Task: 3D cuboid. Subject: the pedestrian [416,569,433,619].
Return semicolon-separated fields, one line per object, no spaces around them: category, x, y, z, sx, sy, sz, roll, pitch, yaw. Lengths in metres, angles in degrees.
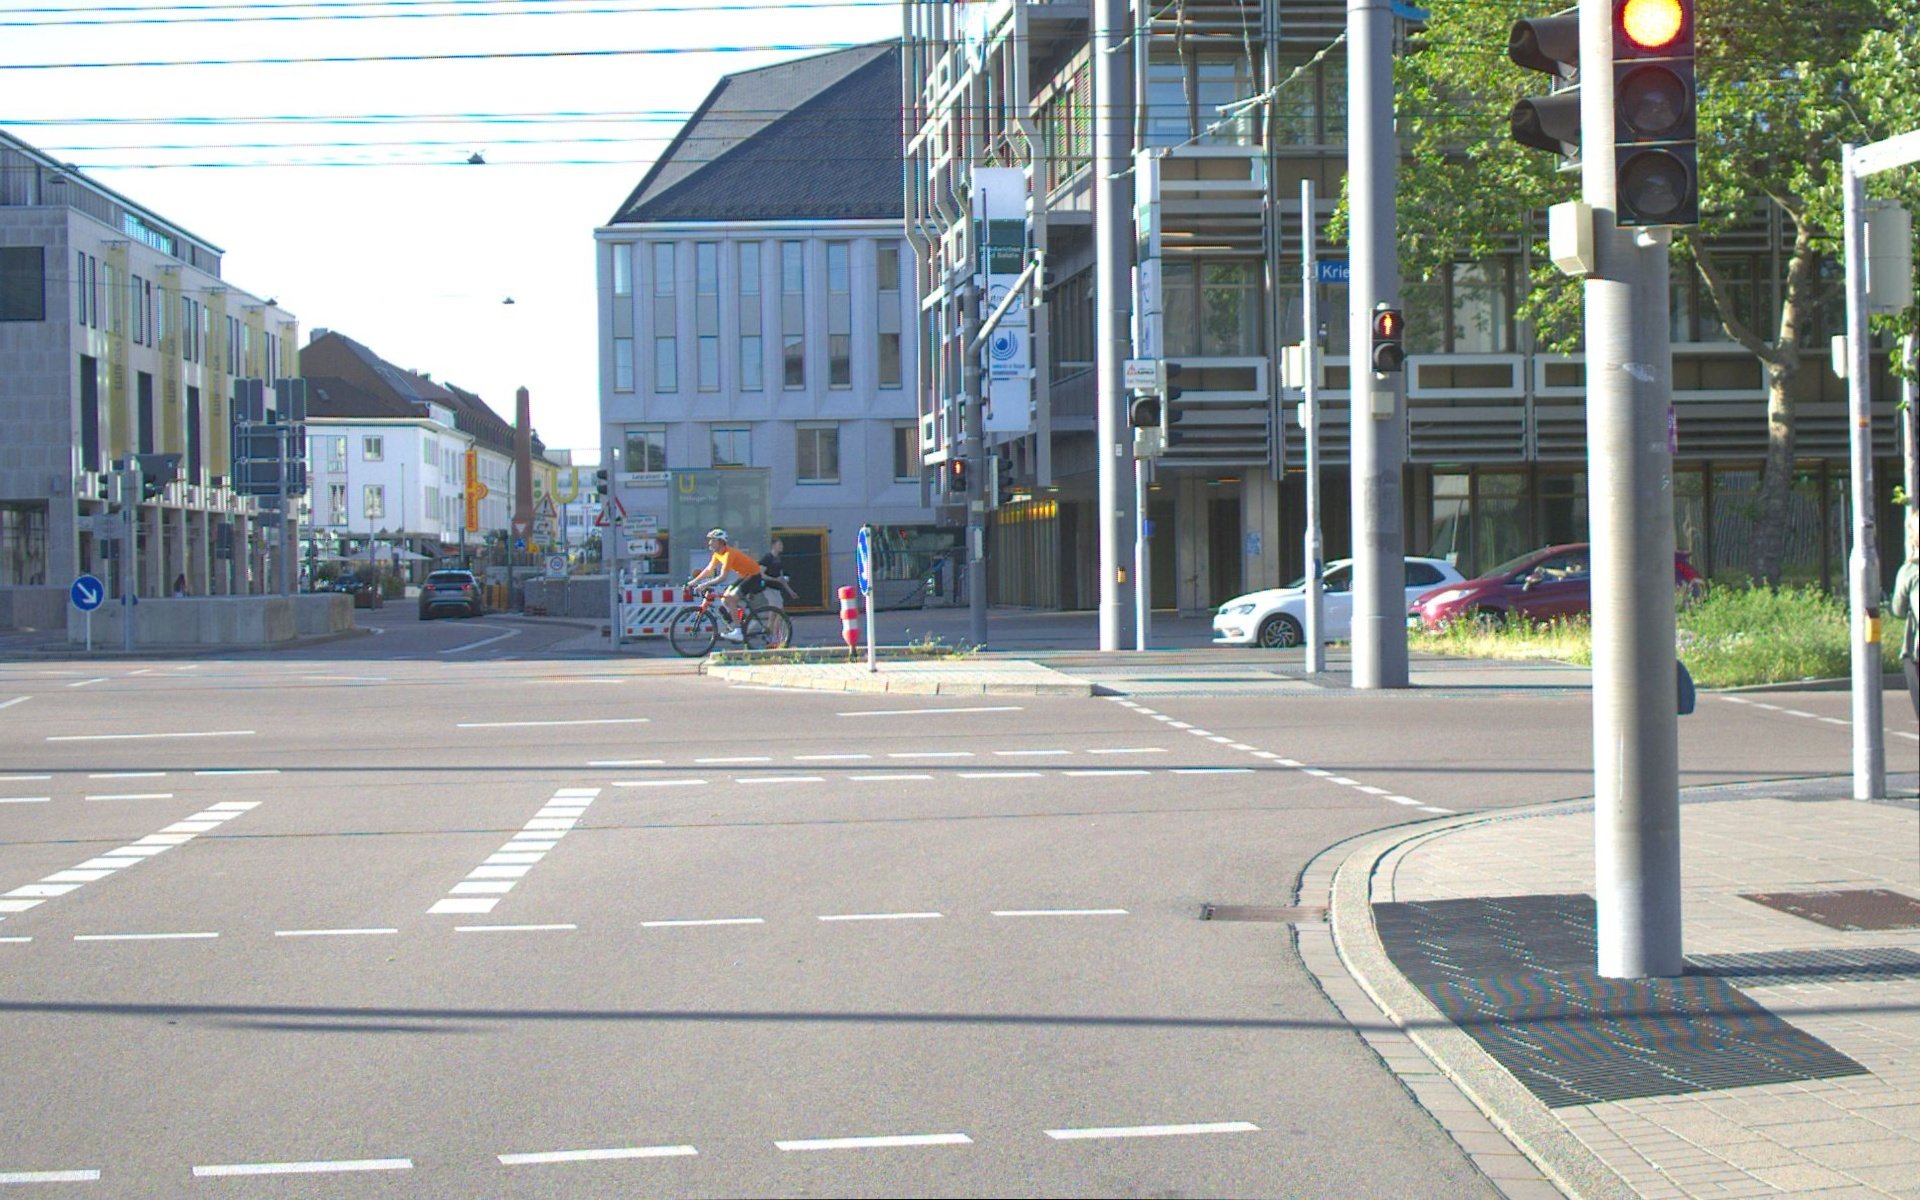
pedestrian;-18.232;-0.204;117.009;0.521;1.674;0.583;1;1;-7

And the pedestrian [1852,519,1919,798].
pedestrian;5.339;0.314;18.679;0.788;1.487;0.644;1;0;-1

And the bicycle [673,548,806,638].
bicycle;-2.871;-0.093;44.751;1.644;1.150;0.497;1;0;-17

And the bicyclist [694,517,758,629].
bicyclist;-3.046;-0.348;44.688;0.711;1.432;0.497;1;0;-17

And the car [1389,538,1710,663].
car;7.818;-0.008;45.781;3.884;1.579;1.660;-1;1;-6

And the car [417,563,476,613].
car;-16.148;-0.384;108.208;1.737;1.525;3.856;1;1;-7

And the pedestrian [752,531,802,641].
pedestrian;-3.180;-0.248;59.927;0.642;1.883;0.790;1;0;14

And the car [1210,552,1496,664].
car;5.796;0.107;50.884;3.897;1.579;1.660;1;0;-7
